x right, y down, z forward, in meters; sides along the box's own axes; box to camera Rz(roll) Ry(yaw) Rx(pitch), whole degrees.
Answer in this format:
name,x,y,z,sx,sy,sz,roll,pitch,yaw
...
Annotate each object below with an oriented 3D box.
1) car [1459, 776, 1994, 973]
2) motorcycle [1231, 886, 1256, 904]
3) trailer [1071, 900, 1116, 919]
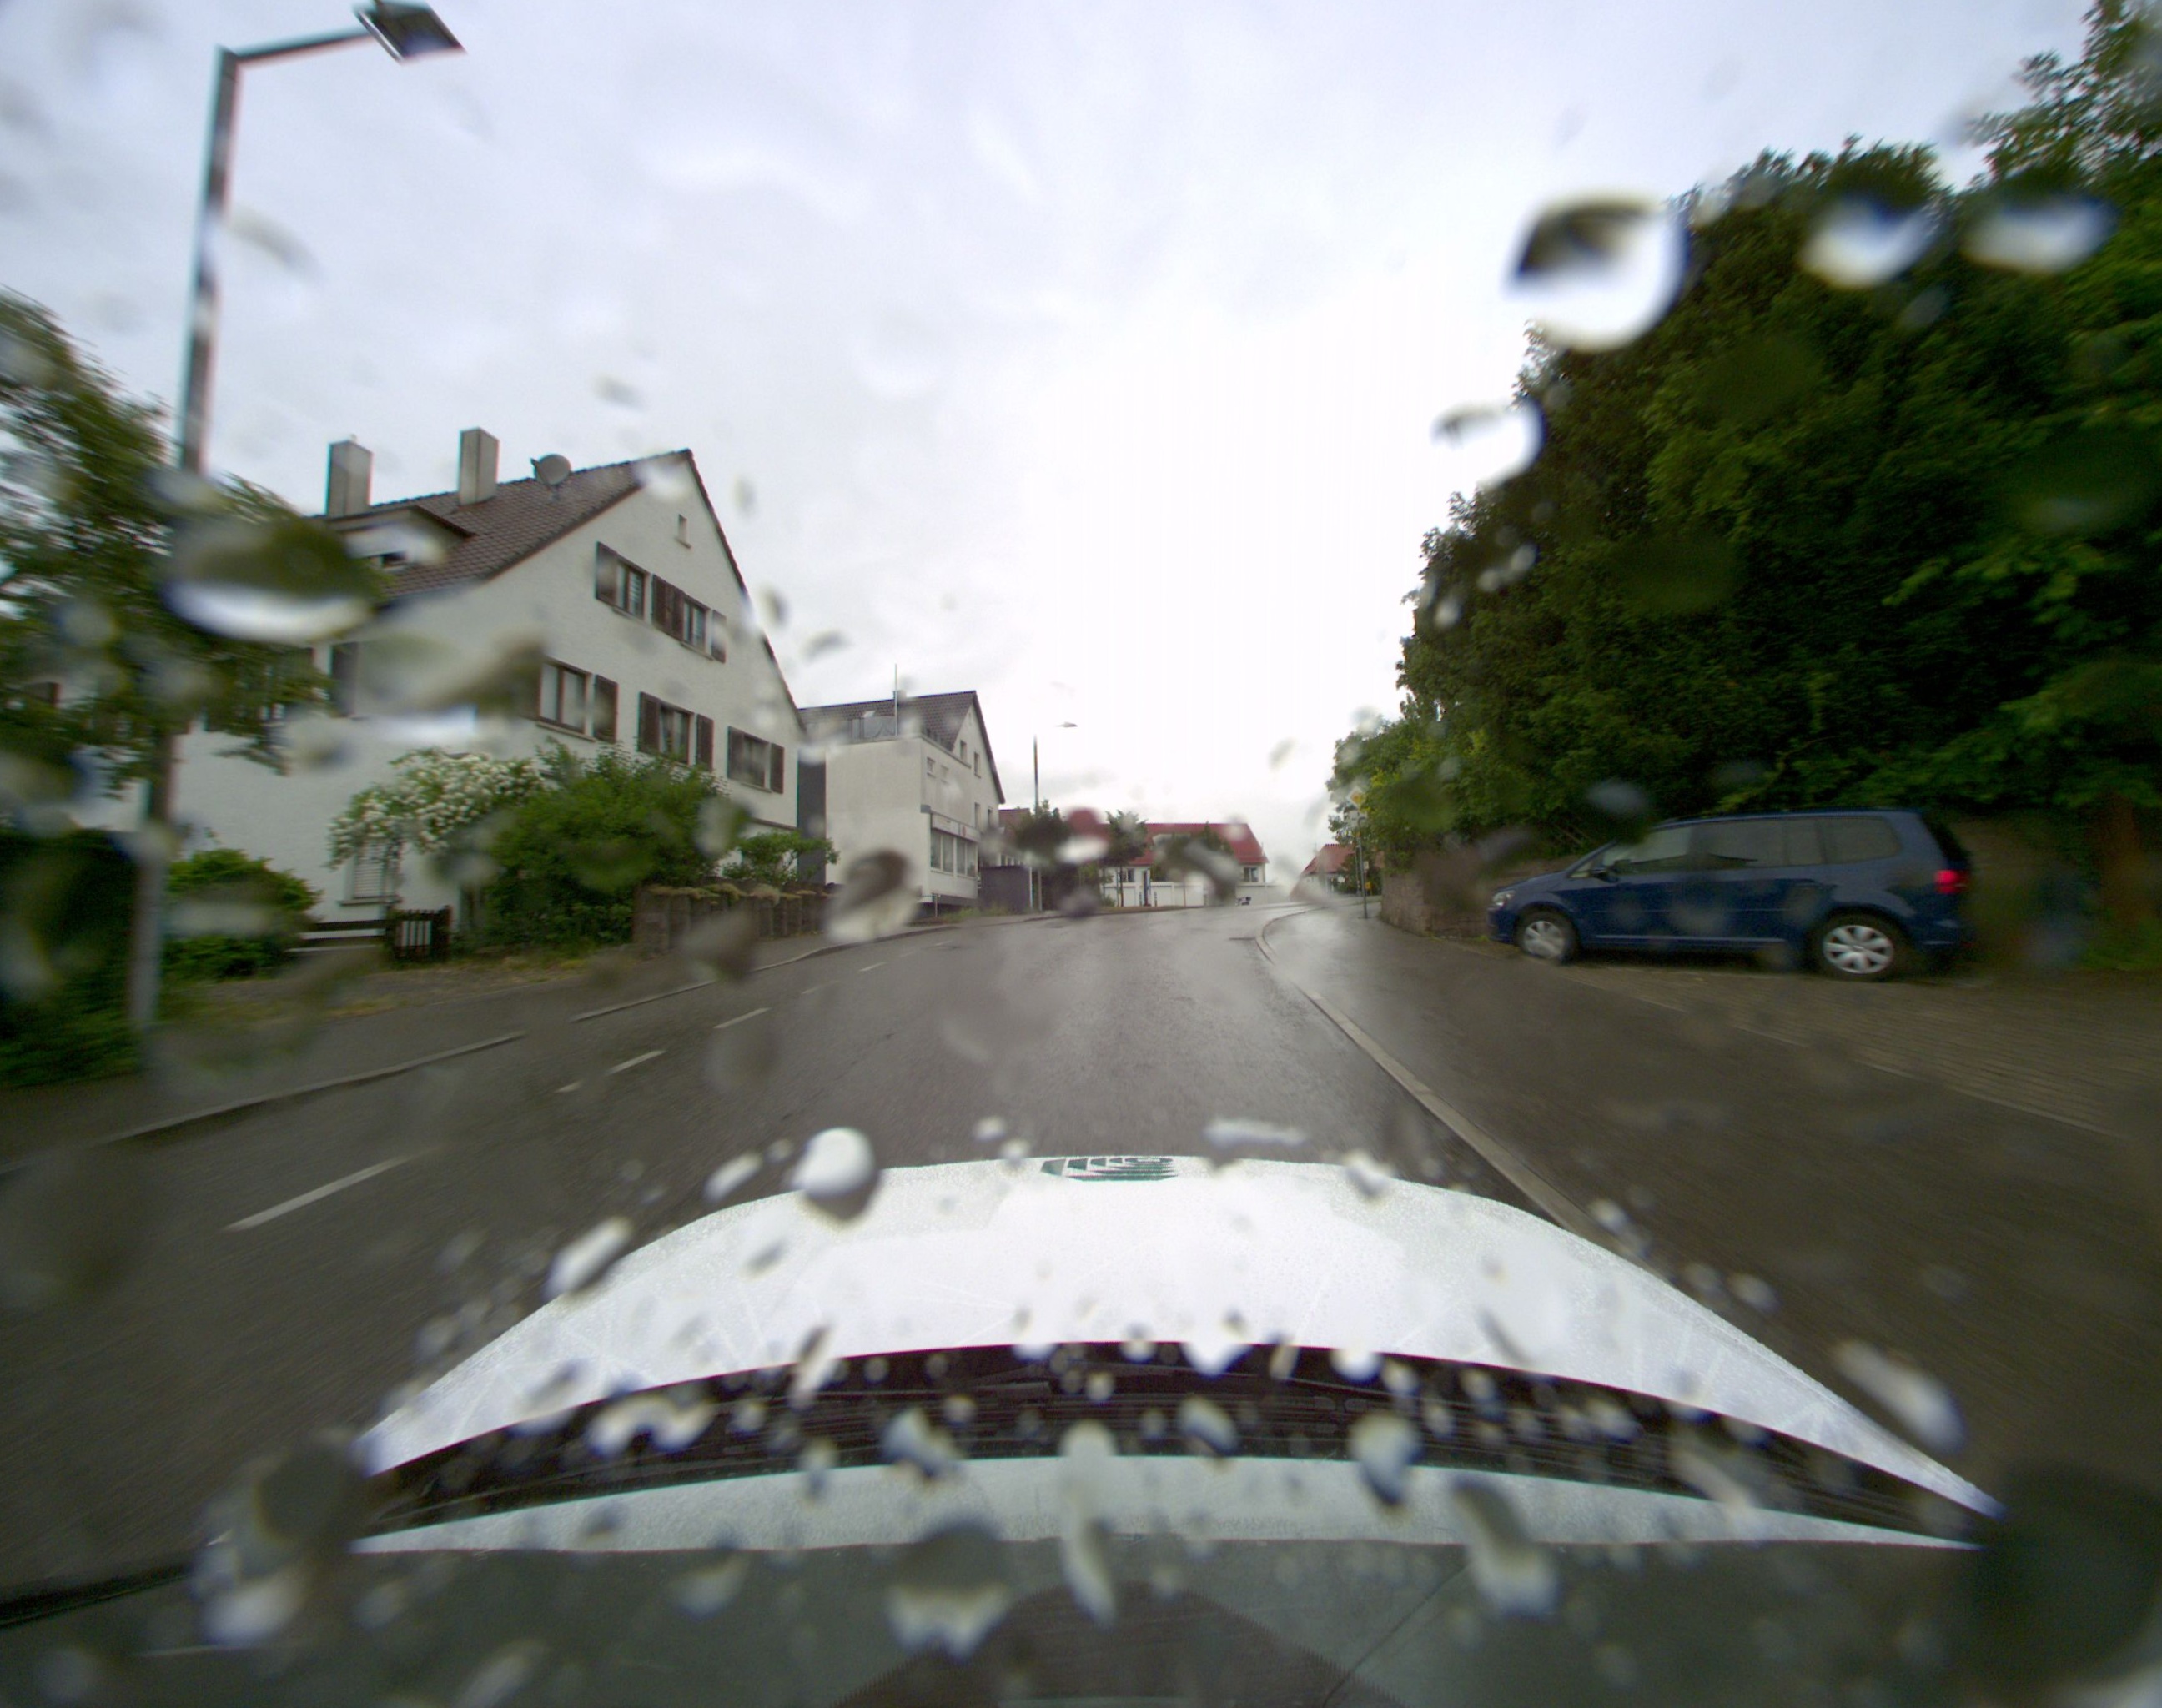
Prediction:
name,x,y,z,sx,sy,sz,roll,pitch,yaw
car,6.858,0.259,9.063,1.867,1.606,4.287,-7,1,-41
motorcycle,13.100,3.301,65.626,2.055,1.322,0.701,-1,-6,-36
trailer,0.880,3.838,56.608,2.796,1.007,1.598,-6,-4,11
